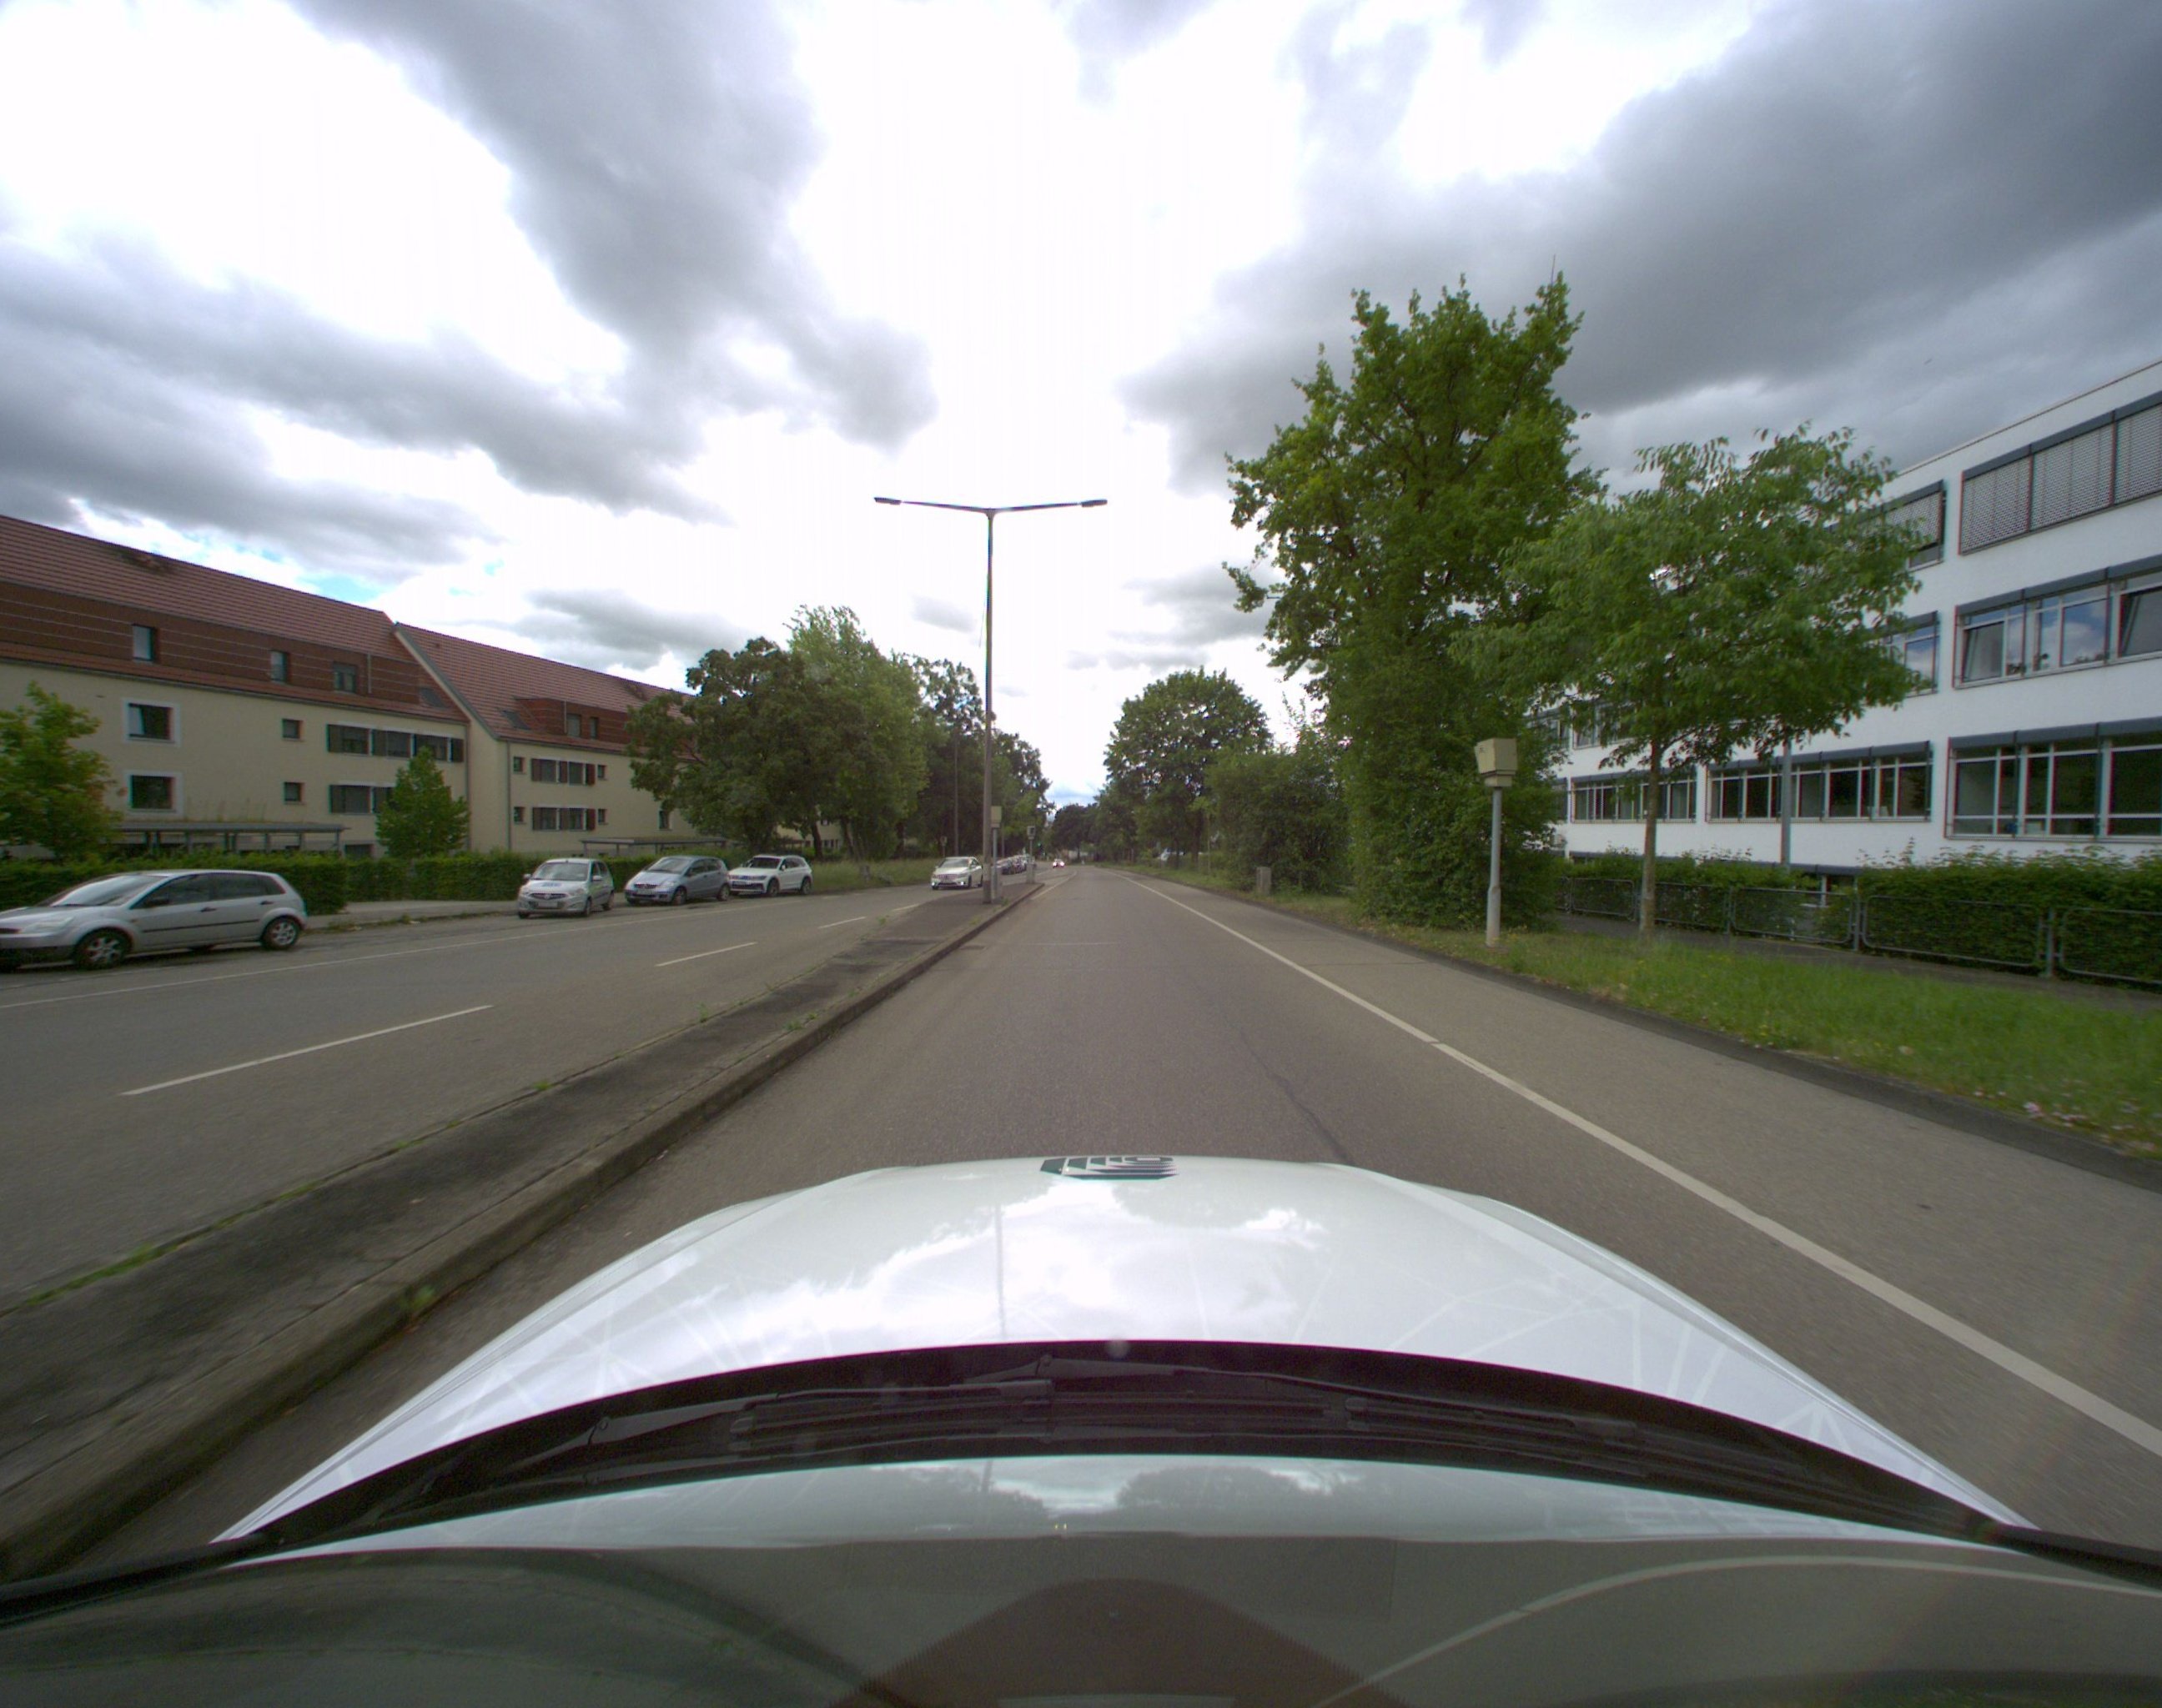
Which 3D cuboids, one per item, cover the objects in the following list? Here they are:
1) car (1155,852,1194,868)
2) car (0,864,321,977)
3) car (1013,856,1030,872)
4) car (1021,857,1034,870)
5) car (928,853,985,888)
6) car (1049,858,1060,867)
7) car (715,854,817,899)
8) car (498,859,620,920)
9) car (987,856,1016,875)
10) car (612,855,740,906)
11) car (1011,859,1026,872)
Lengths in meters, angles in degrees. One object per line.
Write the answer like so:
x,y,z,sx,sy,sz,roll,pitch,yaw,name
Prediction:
15.032,0.997,130.875,6.040,2.367,2.343,1,-1,-25,car
-15.256,0.948,13.261,1.867,1.507,4.003,-1,0,3,car
-7.318,1.181,100.084,1.762,1.931,5.153,0,0,0,car
-8.274,1.463,125.841,1.862,1.963,5.121,0,-1,-3,car
-5.892,0.814,39.055,1.867,1.570,4.342,0,-1,3,car
-4.354,1.451,135.463,1.632,1.467,3.999,-1,-1,0,car
-12.543,0.844,32.798,1.864,1.667,4.401,0,0,8,car
-14.389,0.902,22.711,1.880,1.507,3.976,0,0,-18,car
-6.922,1.015,71.515,1.867,1.570,4.654,0,-1,3,car
-13.574,0.875,27.595,1.864,1.597,4.009,0,-1,8,car
-7.258,1.354,94.117,1.632,1.433,3.943,0,0,-5,car
